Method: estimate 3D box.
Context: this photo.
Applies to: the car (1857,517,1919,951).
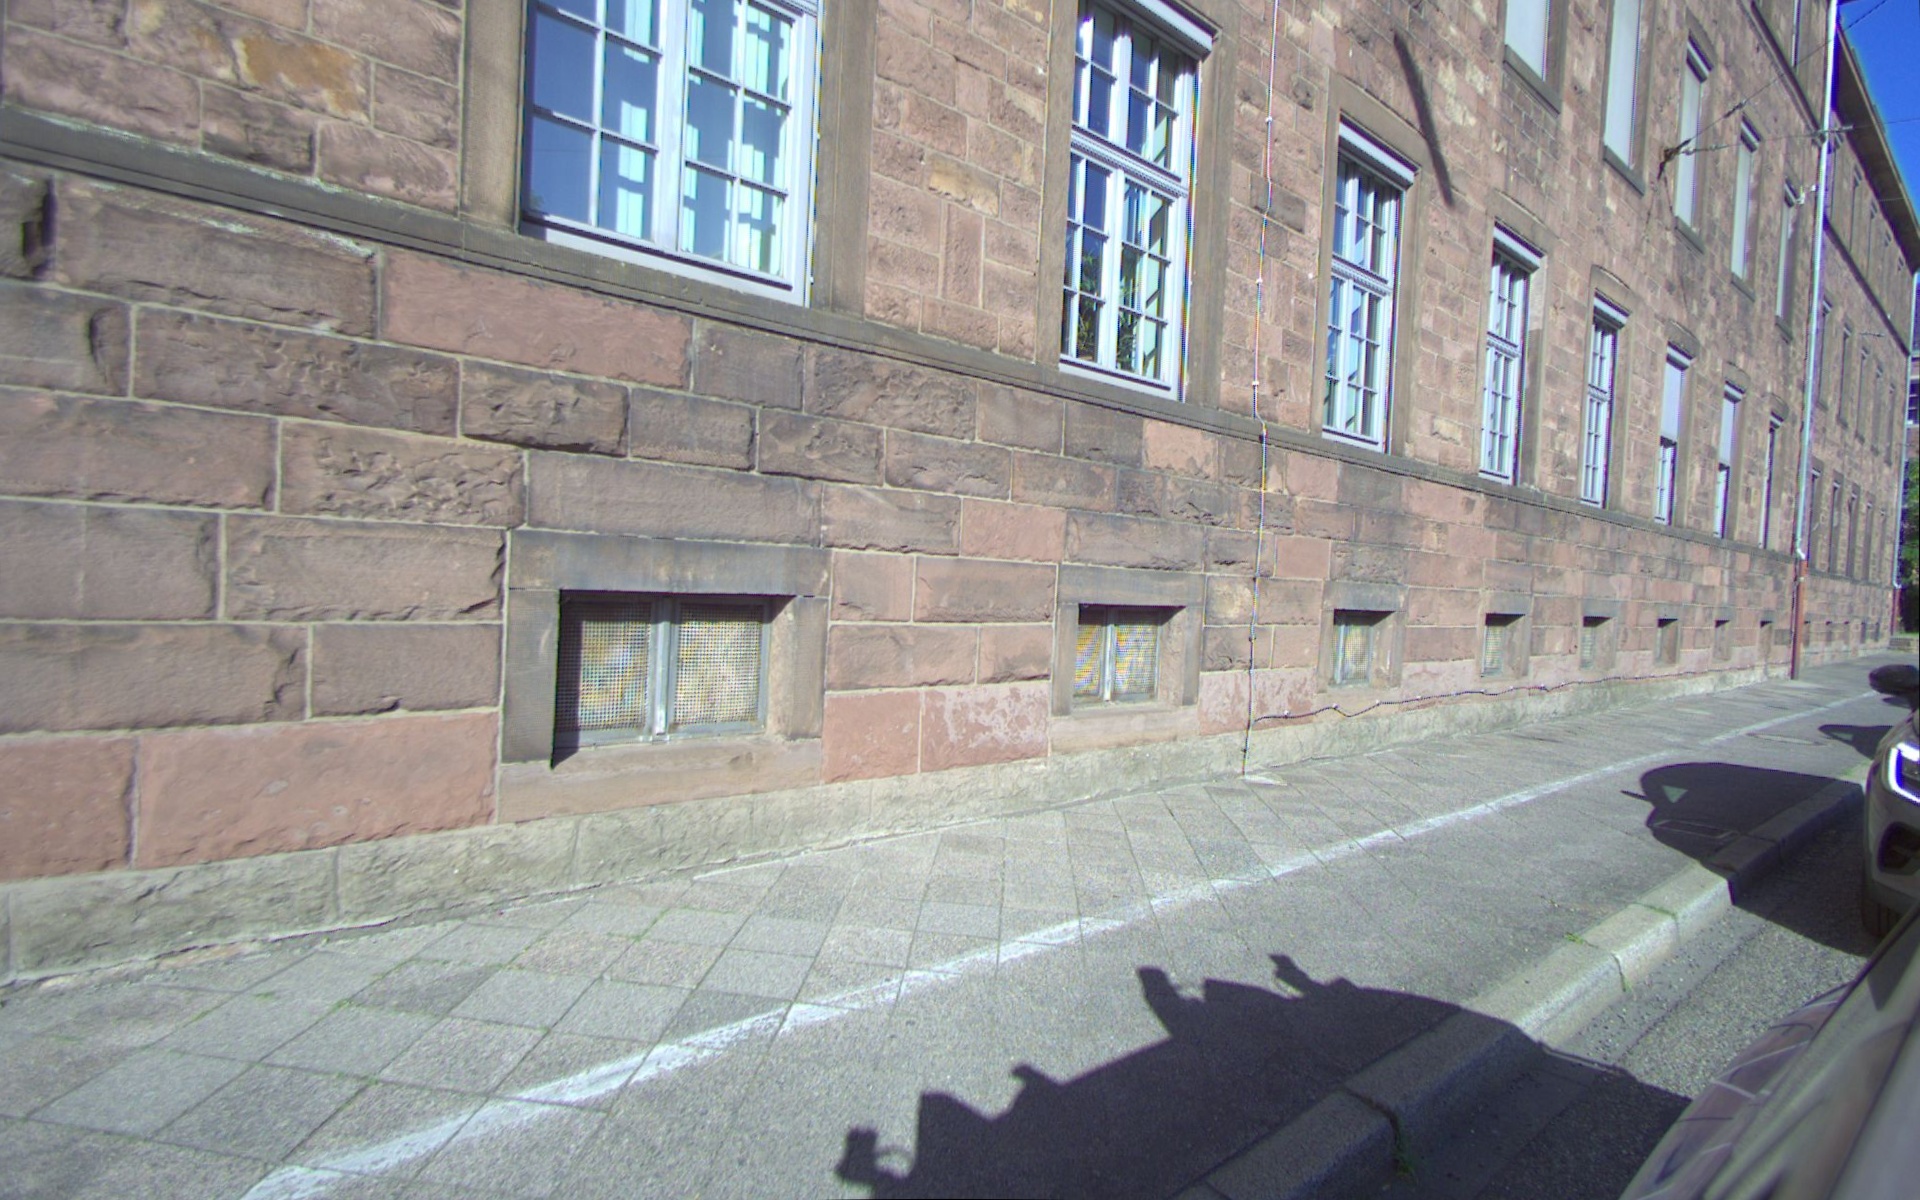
[{"bbox_3d":[5.453,0.538,4.530,3.735,1.624,1.793,1,1,-43],"label":"car"}]
